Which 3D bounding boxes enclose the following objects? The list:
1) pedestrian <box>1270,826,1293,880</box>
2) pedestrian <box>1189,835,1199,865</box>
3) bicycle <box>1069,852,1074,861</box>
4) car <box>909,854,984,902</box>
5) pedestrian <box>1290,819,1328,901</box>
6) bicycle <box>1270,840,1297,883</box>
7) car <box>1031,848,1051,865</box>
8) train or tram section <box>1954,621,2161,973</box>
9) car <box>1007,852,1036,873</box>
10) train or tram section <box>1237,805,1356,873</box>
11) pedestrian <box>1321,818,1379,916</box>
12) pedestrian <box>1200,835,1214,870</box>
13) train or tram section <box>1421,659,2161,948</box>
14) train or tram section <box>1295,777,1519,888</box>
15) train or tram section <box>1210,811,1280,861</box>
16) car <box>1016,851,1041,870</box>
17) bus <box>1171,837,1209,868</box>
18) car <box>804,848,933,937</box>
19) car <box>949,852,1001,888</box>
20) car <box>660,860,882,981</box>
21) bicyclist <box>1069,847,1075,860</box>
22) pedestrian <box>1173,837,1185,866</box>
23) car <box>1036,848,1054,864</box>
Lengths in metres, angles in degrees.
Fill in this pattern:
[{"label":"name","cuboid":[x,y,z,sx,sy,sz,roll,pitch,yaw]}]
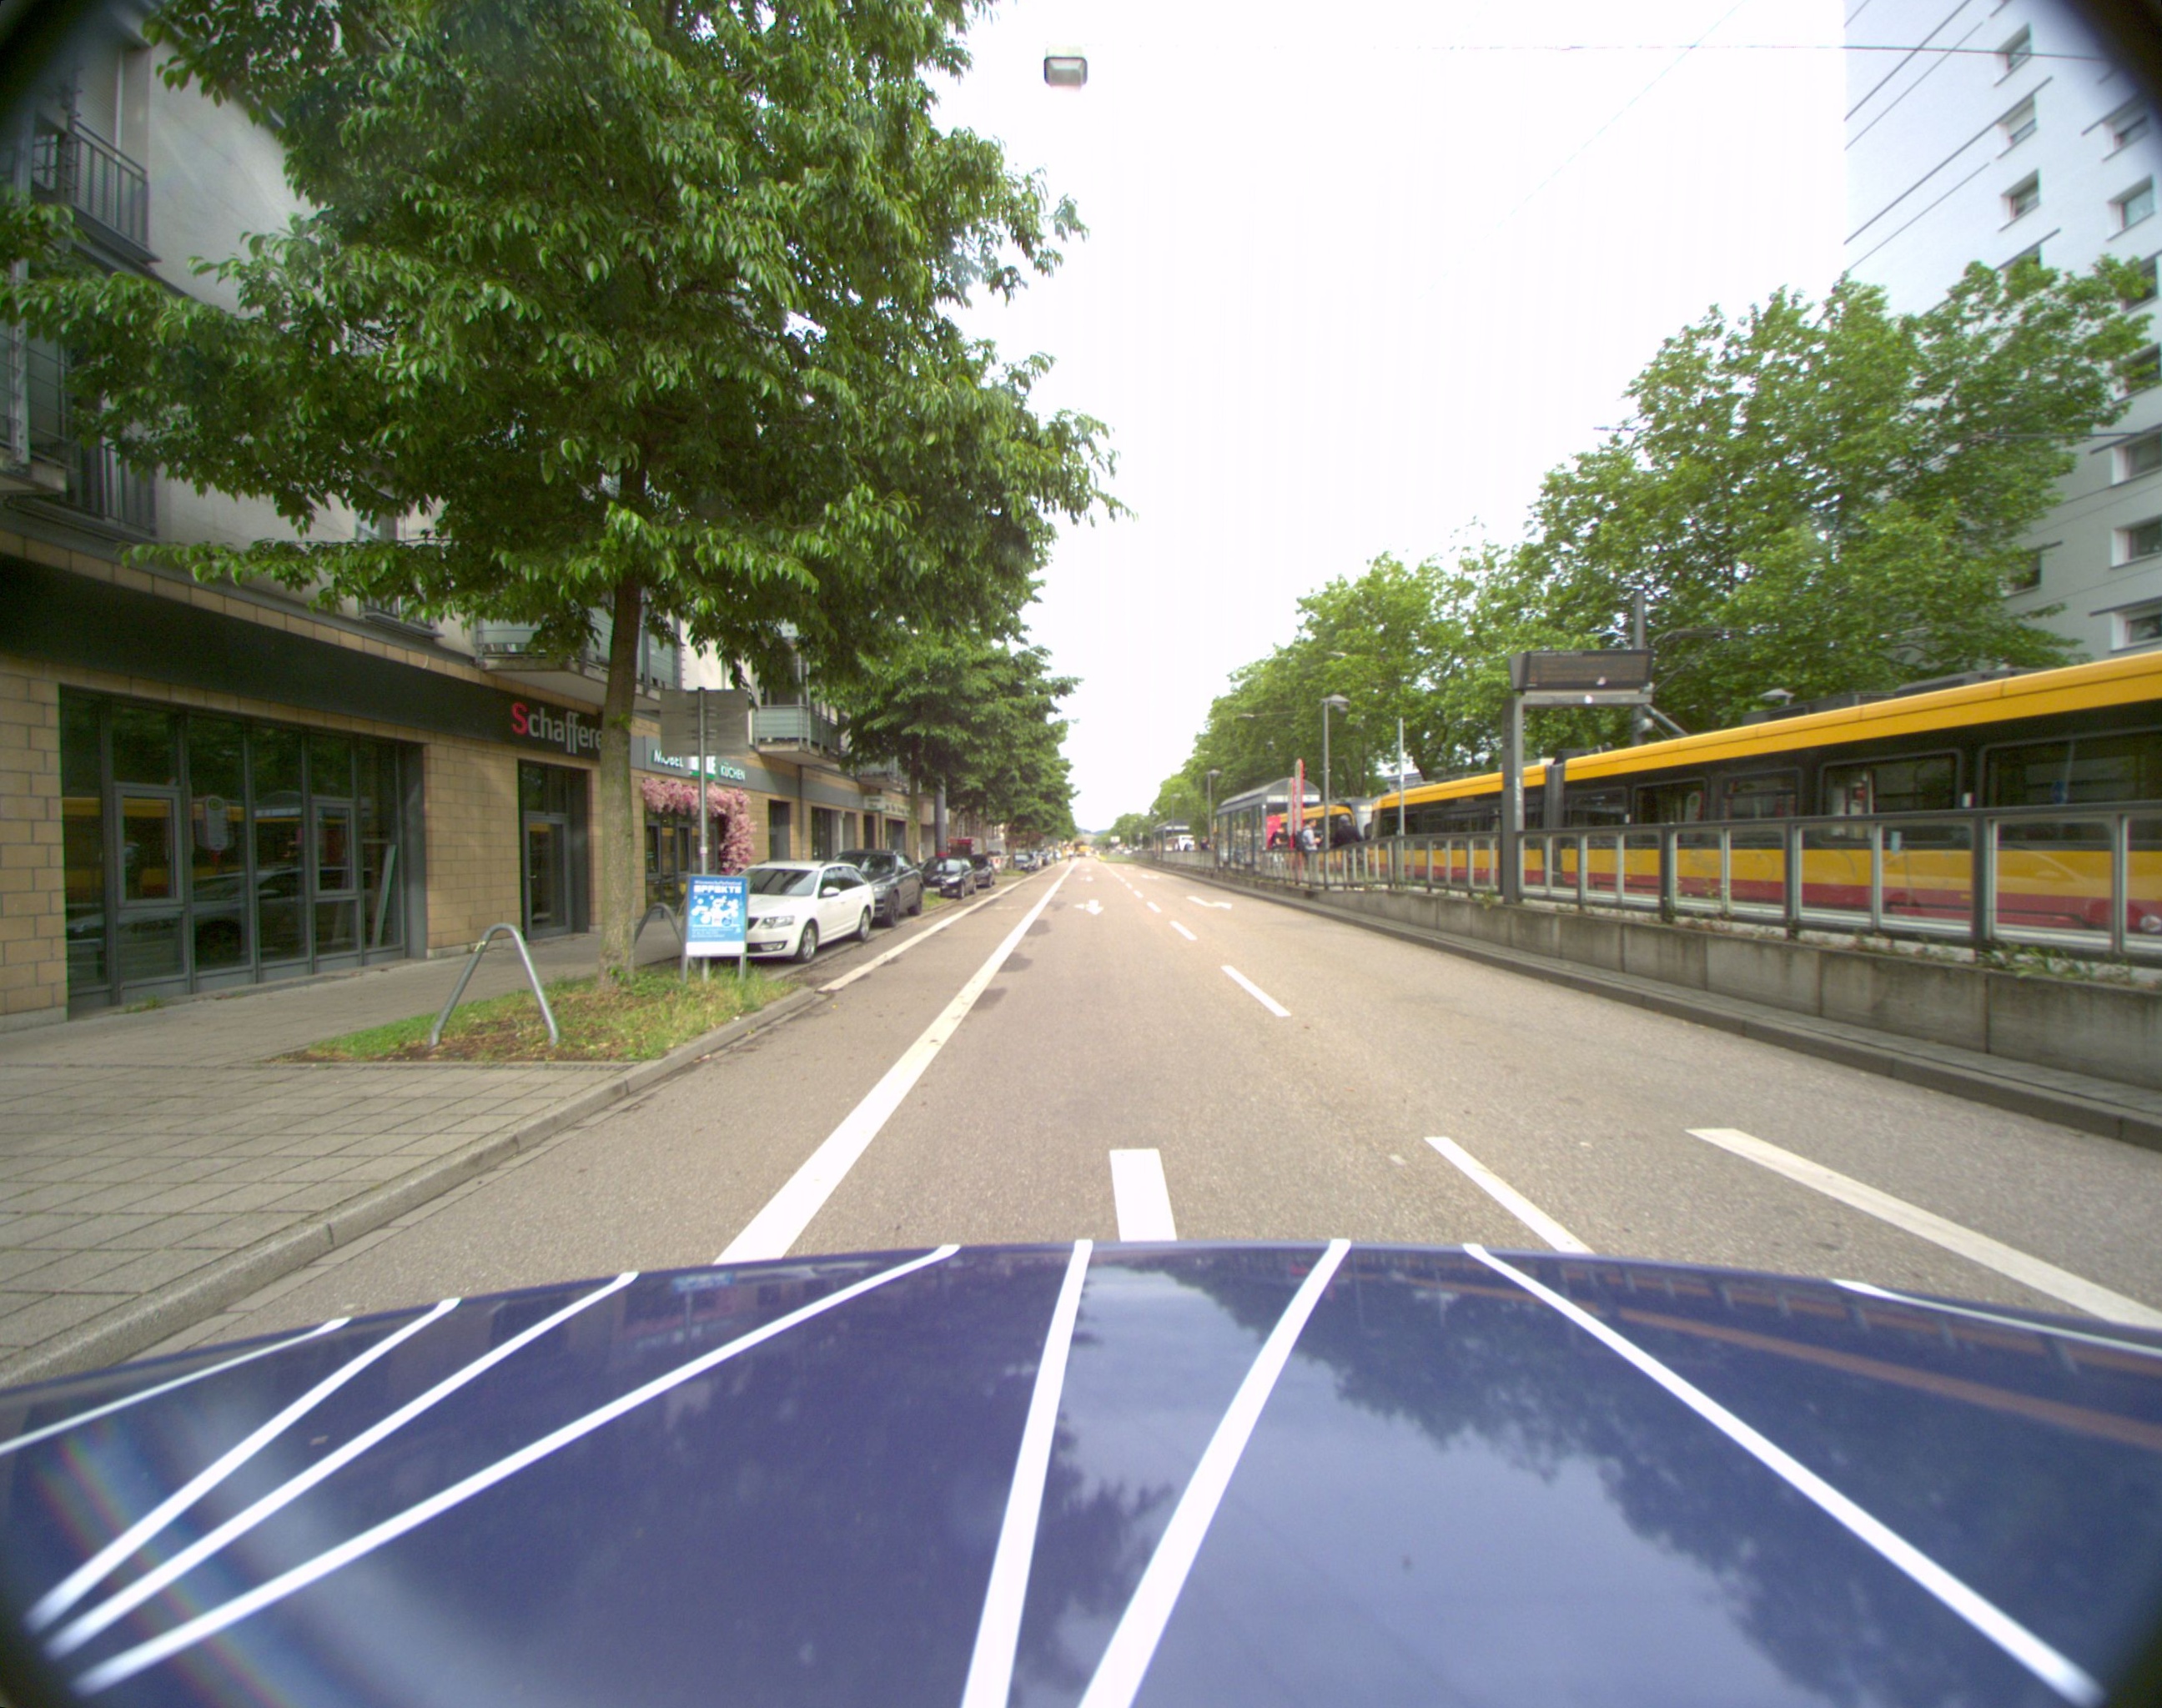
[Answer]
[{"label":"pedestrian","cuboid":[6.214,-0.035,23.576,0.532,1.623,0.471,-2,1,-2]},{"label":"pedestrian","cuboid":[6.051,-0.216,40.705,0.480,1.623,0.392,-2,1,2]},{"label":"bicycle","cuboid":[-1.259,0.325,104.631,0.613,1.116,2.050,-2,1,1]},{"label":"car","cuboid":[-4.630,0.770,26.730,1.680,1.433,4.407,2,1,2]},{"label":"pedestrian","cuboid":[5.737,0.149,19.119,0.753,2.002,0.819,-2,1,24]},{"label":"bicycle","cuboid":[6.008,0.212,22.578,0.420,1.215,1.289,-2,1,0]},{"label":"car","cuboid":[-4.112,0.225,78.180,1.837,1.720,4.279,1,1,0]},{"label":"train or tram section","cuboid":[12.433,-0.541,1.610,3.067,3.568,15.846,-2,1,1]},{"label":"car","cuboid":[-4.310,0.583,55.877,1.755,1.452,4.279,1,1,0]},{"label":"train or tram section","cuboid":[12.989,-0.903,47.994,3.067,3.511,15.769,-2,1,1]},{"label":"pedestrian","cuboid":[5.715,0.262,16.135,0.756,2.002,0.816,-3,2,-36]},{"label":"pedestrian","cuboid":[5.968,-0.056,36.039,0.513,1.623,0.730,-2,1,2]},{"label":"train or tram section","cuboid":[12.614,-0.741,17.158,3.067,3.511,15.292,-2,1,1]},{"label":"train or tram section","cuboid":[12.811,-0.807,32.470,3.067,3.511,15.292,-2,1,1]},{"label":"train or tram section","cuboid":[13.119,-1.402,62.144,3.100,3.541,12.537,-2,1,1]},{"label":"car","cuboid":[-4.243,0.508,62.099,1.755,1.452,4.279,1,1,0]},{"label":"bus","cuboid":[7.511,-0.140,52.594,1.998,2.002,3.999,-2,1,1]},{"label":"car","cuboid":[-4.761,0.765,17.702,1.716,1.707,4.710,2,1,-1]},{"label":"car","cuboid":[-4.716,0.671,34.436,1.802,1.447,4.387,2,1,-1]},{"label":"car","cuboid":[-4.723,0.906,12.361,1.680,1.490,4.389,2,1,2]},{"label":"bicyclist","cuboid":[-1.195,-0.106,104.679,0.751,1.777,0.838,-2,1,1]},{"label":"pedestrian","cuboid":[6.748,-0.184,52.439,0.676,2.002,0.588,-2,1,-2]},{"label":"car","cuboid":[-4.112,0.220,87.473,1.837,1.686,3.761,1,1,0]}]
